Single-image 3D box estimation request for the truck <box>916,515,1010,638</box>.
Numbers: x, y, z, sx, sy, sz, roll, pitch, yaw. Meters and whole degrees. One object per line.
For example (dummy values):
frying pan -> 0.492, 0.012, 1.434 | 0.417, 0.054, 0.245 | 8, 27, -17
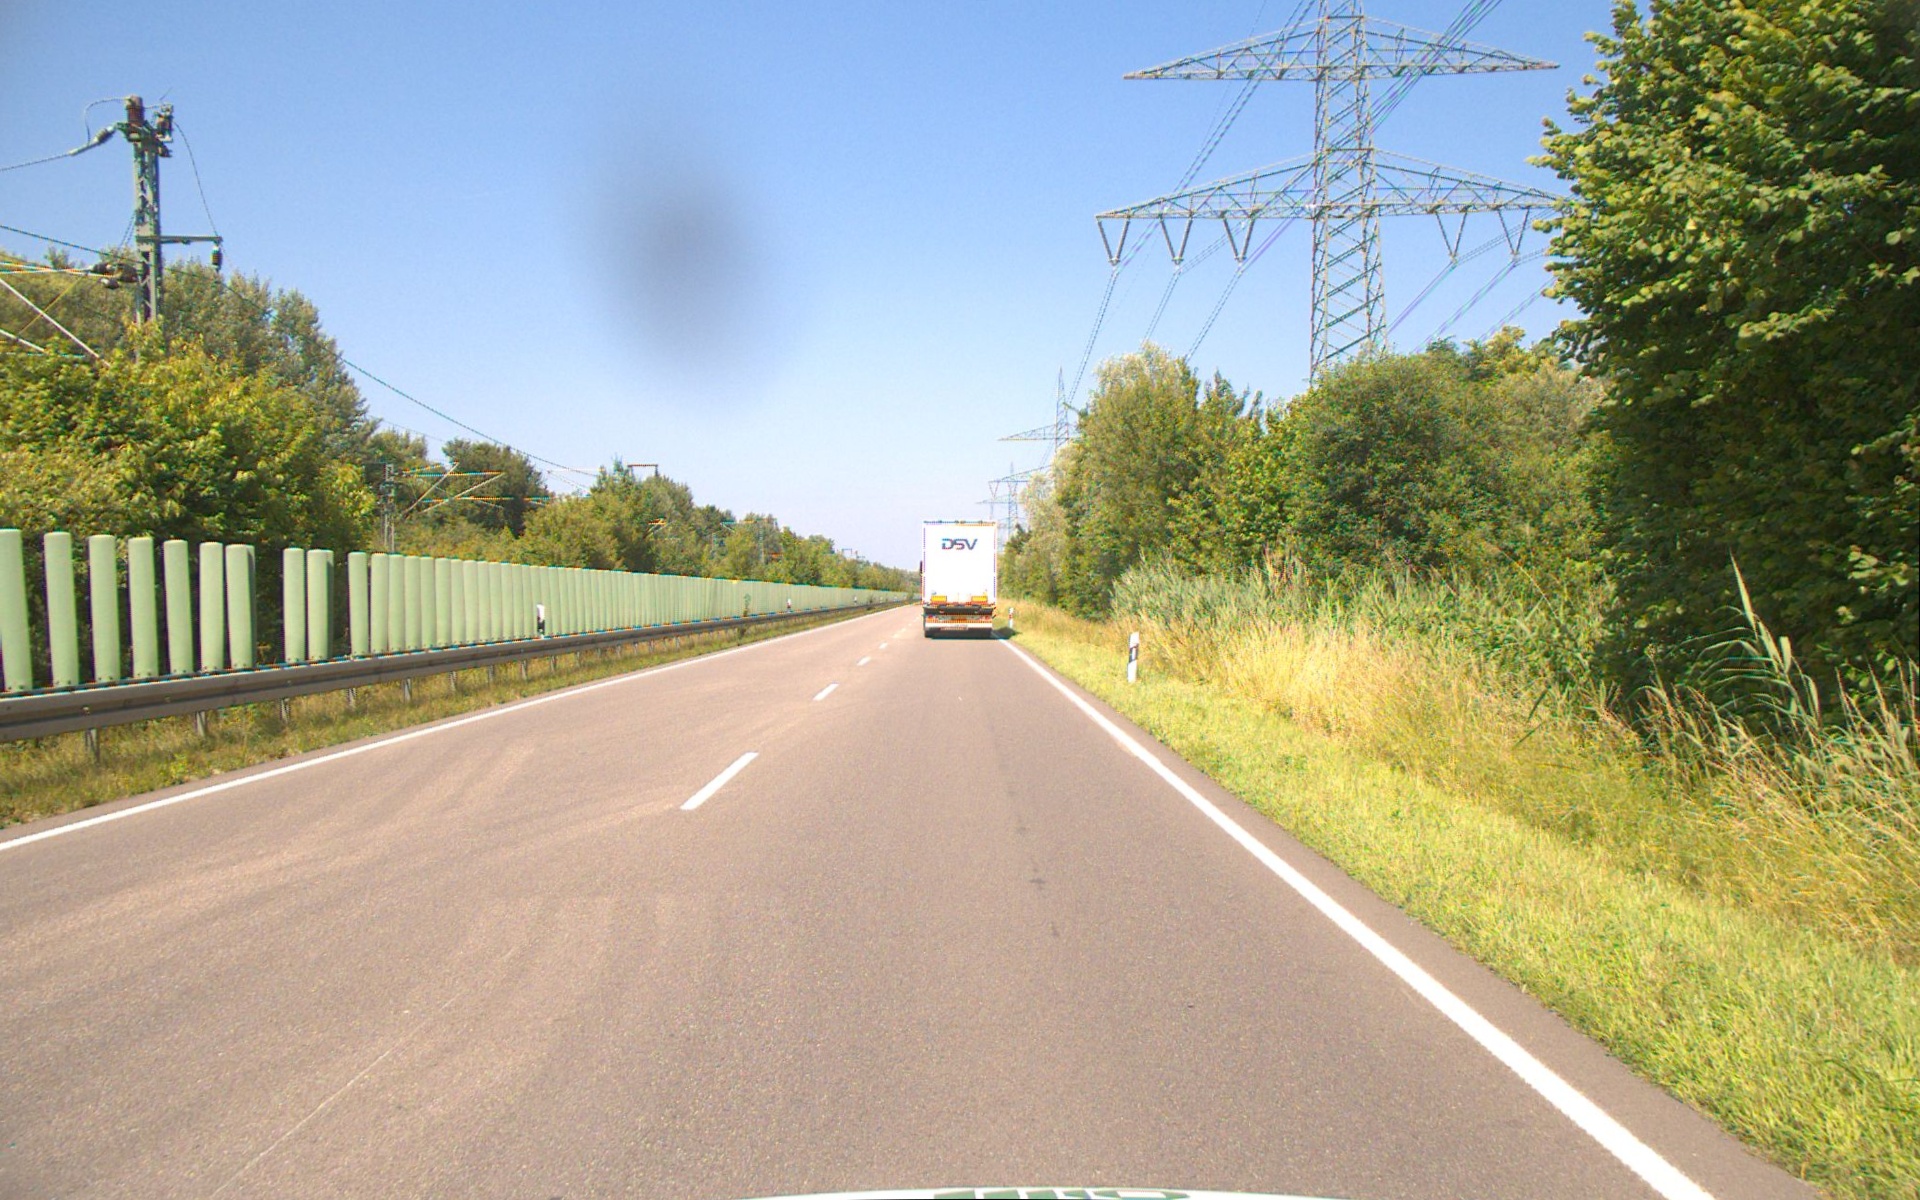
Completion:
truck -> 0.005, -0.825, 61.635 | 3.127, 4.113, 12.004 | 0, 0, -1
